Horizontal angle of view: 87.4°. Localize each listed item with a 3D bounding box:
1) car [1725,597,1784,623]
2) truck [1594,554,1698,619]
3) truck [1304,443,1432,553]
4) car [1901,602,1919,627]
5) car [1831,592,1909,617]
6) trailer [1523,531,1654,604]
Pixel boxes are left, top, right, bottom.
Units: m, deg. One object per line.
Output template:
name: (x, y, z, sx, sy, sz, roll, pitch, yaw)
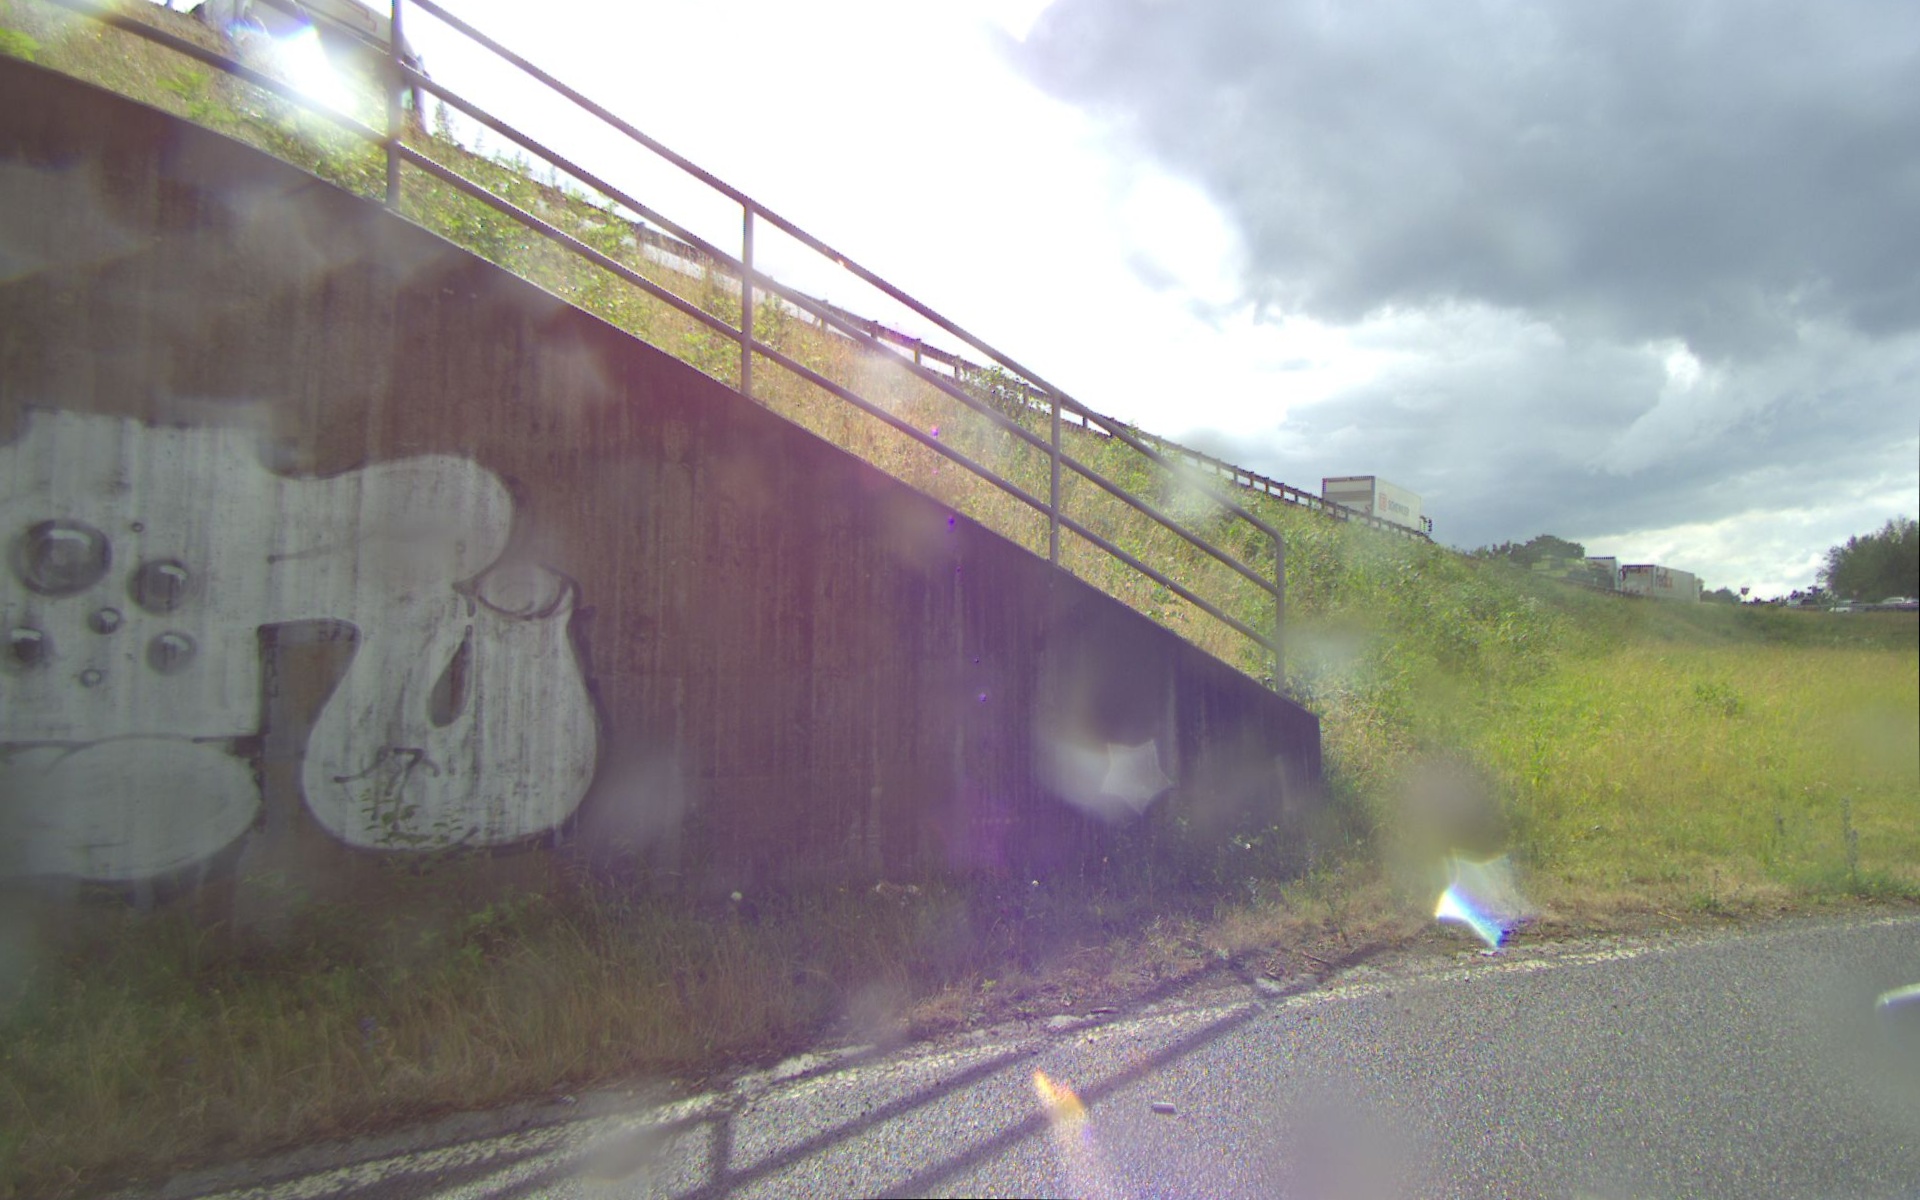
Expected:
car: (68.156, 0.857, 86.184, 3.941, 2.040, 1.818, 0, -3, 41)
truck: (64.838, -0.997, 94.508, 19.254, 4.561, 4.416, 5, -4, -44)
truck: (20.634, -4.863, 50.438, 3.144, 4.017, 9.194, 0, -4, 41)
car: (75.744, 1.066, 77.241, 1.968, 1.885, 4.495, 1, -3, -18)
car: (77.741, 0.449, 85.890, 1.961, 1.885, 5.058, 1, -3, -2)
trailer: (51.041, -2.296, 80.989, 20.090, 4.007, 4.370, 5, -4, -44)
